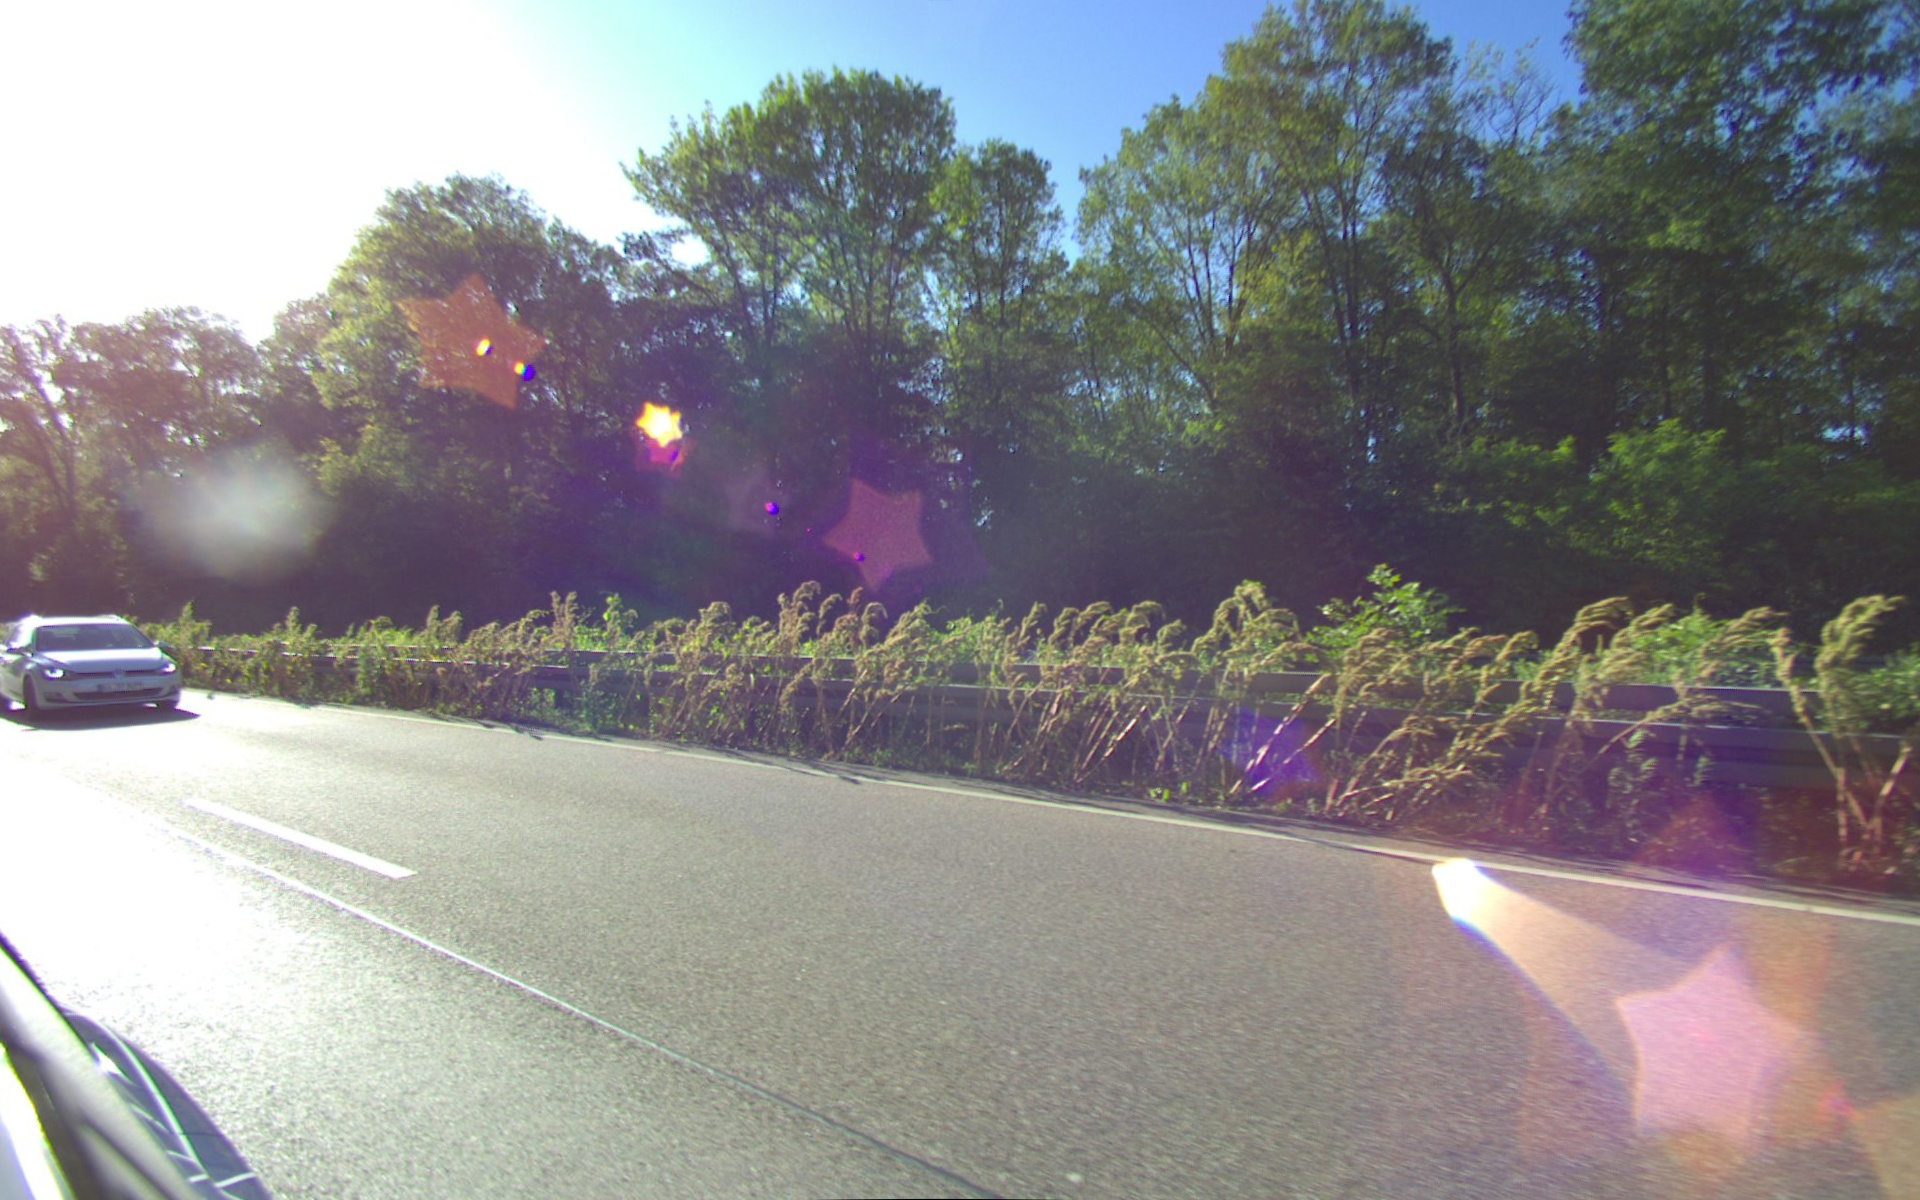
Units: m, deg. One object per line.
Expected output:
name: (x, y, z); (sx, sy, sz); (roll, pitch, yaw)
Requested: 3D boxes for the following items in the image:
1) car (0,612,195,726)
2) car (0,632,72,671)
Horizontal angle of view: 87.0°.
car: (-14.284, 1.007, 16.142); (5.590, 1.519, 1.911); (-2, -1, 38)
car: (-53.845, 2.963, 58.958); (4.748, 2.029, 2.030); (0, 0, 33)
